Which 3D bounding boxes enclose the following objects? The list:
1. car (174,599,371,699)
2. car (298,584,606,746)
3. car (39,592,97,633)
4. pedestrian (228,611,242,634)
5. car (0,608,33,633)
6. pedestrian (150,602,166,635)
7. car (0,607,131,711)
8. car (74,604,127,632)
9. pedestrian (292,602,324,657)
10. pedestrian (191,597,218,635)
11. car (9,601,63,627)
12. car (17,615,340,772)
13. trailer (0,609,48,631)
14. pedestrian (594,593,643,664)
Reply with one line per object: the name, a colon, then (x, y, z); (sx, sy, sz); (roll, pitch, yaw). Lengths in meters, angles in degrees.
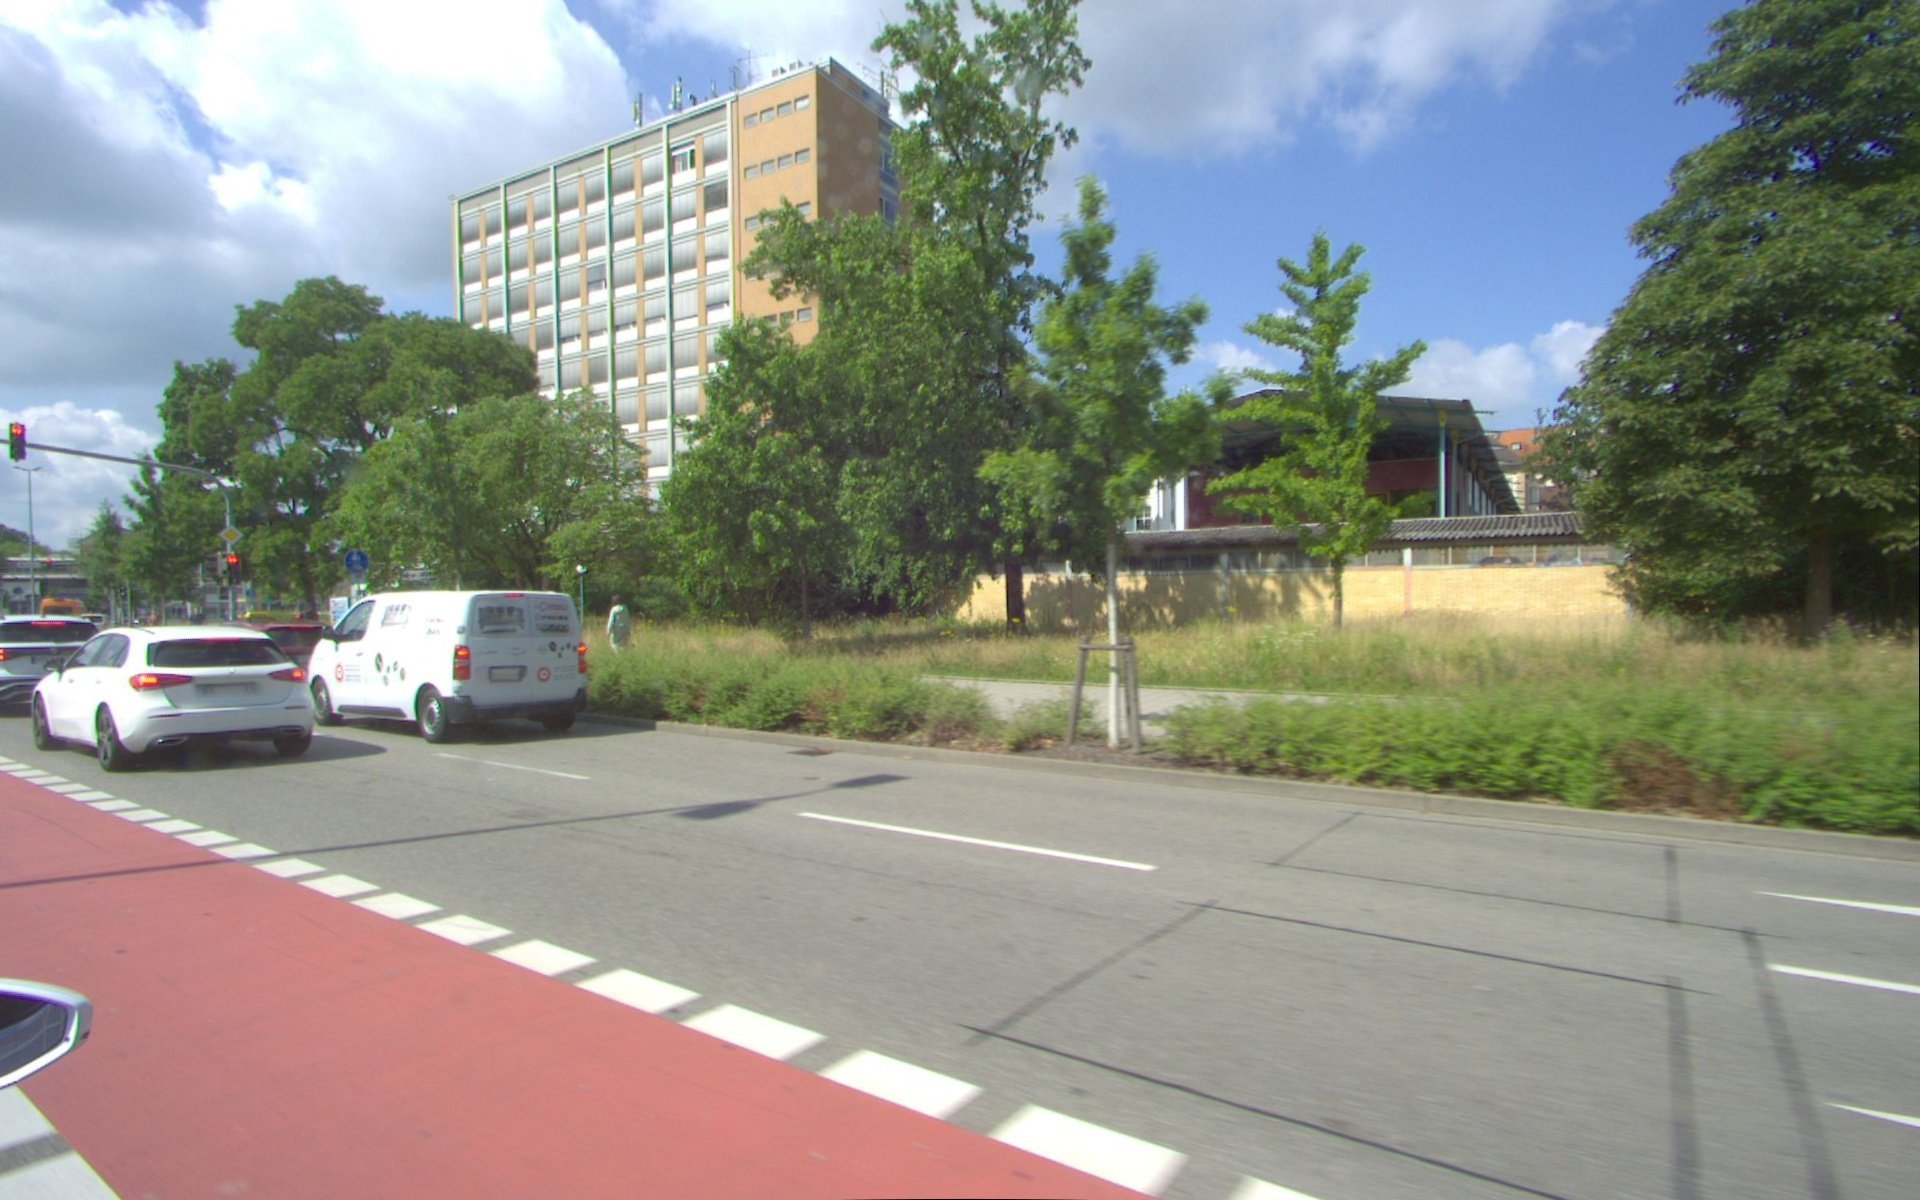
car: (-12.802, 0.827, 18.552); (4.404, 1.663, 1.675); (0, 0, 36)
car: (-7.176, 0.767, 13.958); (4.763, 1.895, 1.935); (0, 0, 37)
car: (-64.123, 0.879, 72.056); (2.106, 2.818, 4.615); (-1, 0, -30)
pedestrian: (-56.454, 1.730, 78.012); (0.779, 1.808, 0.663); (-1, 1, -30)
car: (-75.289, 1.595, 79.133); (1.969, 1.964, 4.615); (-1, 0, -30)
pedestrian: (-42.948, 0.975, 53.615); (0.655, 1.756, 0.572); (-1, 1, -42)
car: (-15.572, 0.917, 16.725); (3.959, 1.559, 1.785); (0, -1, 37)
car: (-58.422, 1.203, 68.144); (1.971, 1.819, 3.979); (-1, 0, -30)
pedestrian: (-21.316, 0.946, 32.724); (0.737, 1.758, 0.672); (-1, 1, -44)
pedestrian: (-30.930, 0.644, 41.002); (0.545, 1.528, 0.766); (0, 1, 41)
car: (-69.451, 1.028, 75.341); (1.970, 1.851, 3.981); (-1, 0, -28)
car: (-9.119, 0.918, 11.574); (4.328, 1.443, 1.897); (0, 0, 37)
trailer: (-67.784, 1.454, 72.213); (1.970, 1.497, 3.981); (-1, 0, -28)
pedestrian: (-8.205, 0.671, 24.051); (0.712, 1.660, 0.864); (0, 1, 38)
